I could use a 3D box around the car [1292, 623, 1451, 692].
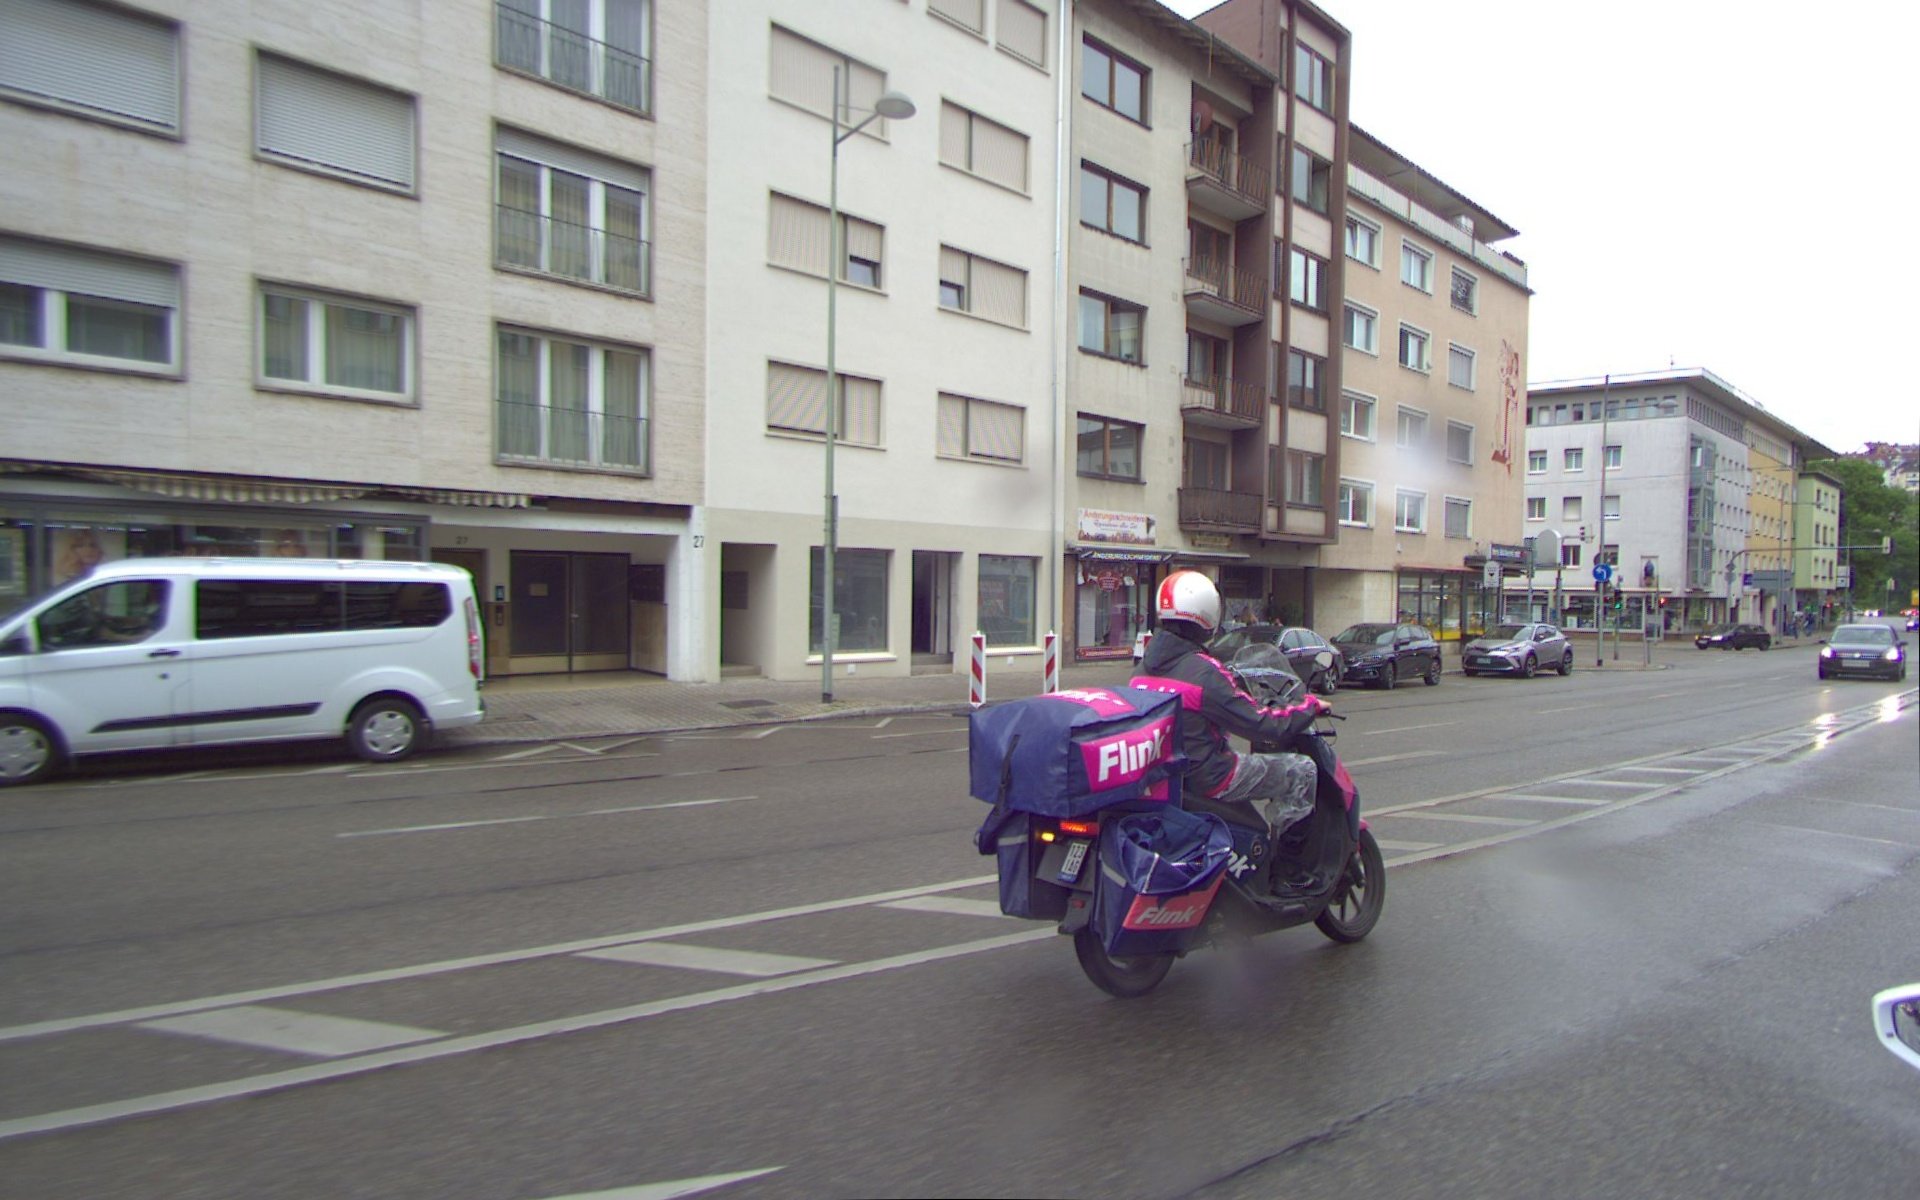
[{"bbox_3d":[10.110,1.326,24.530,4.488,1.497,1.974,1,-1,-44],"label":"car"}]

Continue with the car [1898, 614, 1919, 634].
[{"bbox_3d":[98.619,2.492,103.952,3.972,1.885,1.974,0,3,-43],"label":"car"}]

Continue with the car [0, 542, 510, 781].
[{"bbox_3d":[-7.618,0.554,10.420,5.075,2.041,2.105,2,2,-34],"label":"car"}]

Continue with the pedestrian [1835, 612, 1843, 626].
[{"bbox_3d":[116.032,2.518,132.550,0.657,1.815,0.719,3,3,35],"label":"pedestrian"}]

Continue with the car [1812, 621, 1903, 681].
[{"bbox_3d":[27.214,1.496,30.413,1.843,1.669,4.226,0,-1,45],"label":"car"}]

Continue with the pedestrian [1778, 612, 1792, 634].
[{"bbox_3d":[66.133,1.853,80.501,0.789,1.711,0.813,2,1,41],"label":"pedestrian"}]

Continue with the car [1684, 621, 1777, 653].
[{"bbox_3d":[42.293,2.022,55.163,3.924,1.648,1.697,1,-1,-5],"label":"car"}]

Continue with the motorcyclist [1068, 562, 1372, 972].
[{"bbox_3d":[1.104,0.620,4.328,0.856,1.513,0.908,1,0,-36],"label":"motorcyclist"}]

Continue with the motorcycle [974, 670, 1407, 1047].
[{"bbox_3d":[1.071,0.950,4.315,2.082,1.207,0.583,1,0,-36],"label":"motorcycle"}]

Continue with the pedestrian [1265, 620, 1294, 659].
[{"bbox_3d":[10.039,1.237,31.534,0.585,1.163,0.673,2,0,-13],"label":"pedestrian"}]

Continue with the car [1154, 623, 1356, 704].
[{"bbox_3d":[6.252,1.236,20.950,4.945,1.496,1.864,1,-1,-44],"label":"car"}]

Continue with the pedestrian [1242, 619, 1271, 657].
[{"bbox_3d":[9.290,1.193,31.499,0.627,1.163,0.603,1,1,-41],"label":"pedestrian"}]

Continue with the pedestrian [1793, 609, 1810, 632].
[{"bbox_3d":[67.726,1.638,80.839,0.868,1.812,0.857,1,3,-42],"label":"pedestrian"}]

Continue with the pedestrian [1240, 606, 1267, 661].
[{"bbox_3d":[8.778,0.992,30.011,0.535,1.604,0.667,2,1,35],"label":"pedestrian"}]

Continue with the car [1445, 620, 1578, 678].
[{"bbox_3d":[16.244,1.405,29.517,4.592,1.575,1.892,2,-1,-40],"label":"car"}]

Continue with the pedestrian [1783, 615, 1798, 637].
[{"bbox_3d":[60.009,1.875,72.569,0.647,1.602,0.680,0,3,-41],"label":"pedestrian"}]
